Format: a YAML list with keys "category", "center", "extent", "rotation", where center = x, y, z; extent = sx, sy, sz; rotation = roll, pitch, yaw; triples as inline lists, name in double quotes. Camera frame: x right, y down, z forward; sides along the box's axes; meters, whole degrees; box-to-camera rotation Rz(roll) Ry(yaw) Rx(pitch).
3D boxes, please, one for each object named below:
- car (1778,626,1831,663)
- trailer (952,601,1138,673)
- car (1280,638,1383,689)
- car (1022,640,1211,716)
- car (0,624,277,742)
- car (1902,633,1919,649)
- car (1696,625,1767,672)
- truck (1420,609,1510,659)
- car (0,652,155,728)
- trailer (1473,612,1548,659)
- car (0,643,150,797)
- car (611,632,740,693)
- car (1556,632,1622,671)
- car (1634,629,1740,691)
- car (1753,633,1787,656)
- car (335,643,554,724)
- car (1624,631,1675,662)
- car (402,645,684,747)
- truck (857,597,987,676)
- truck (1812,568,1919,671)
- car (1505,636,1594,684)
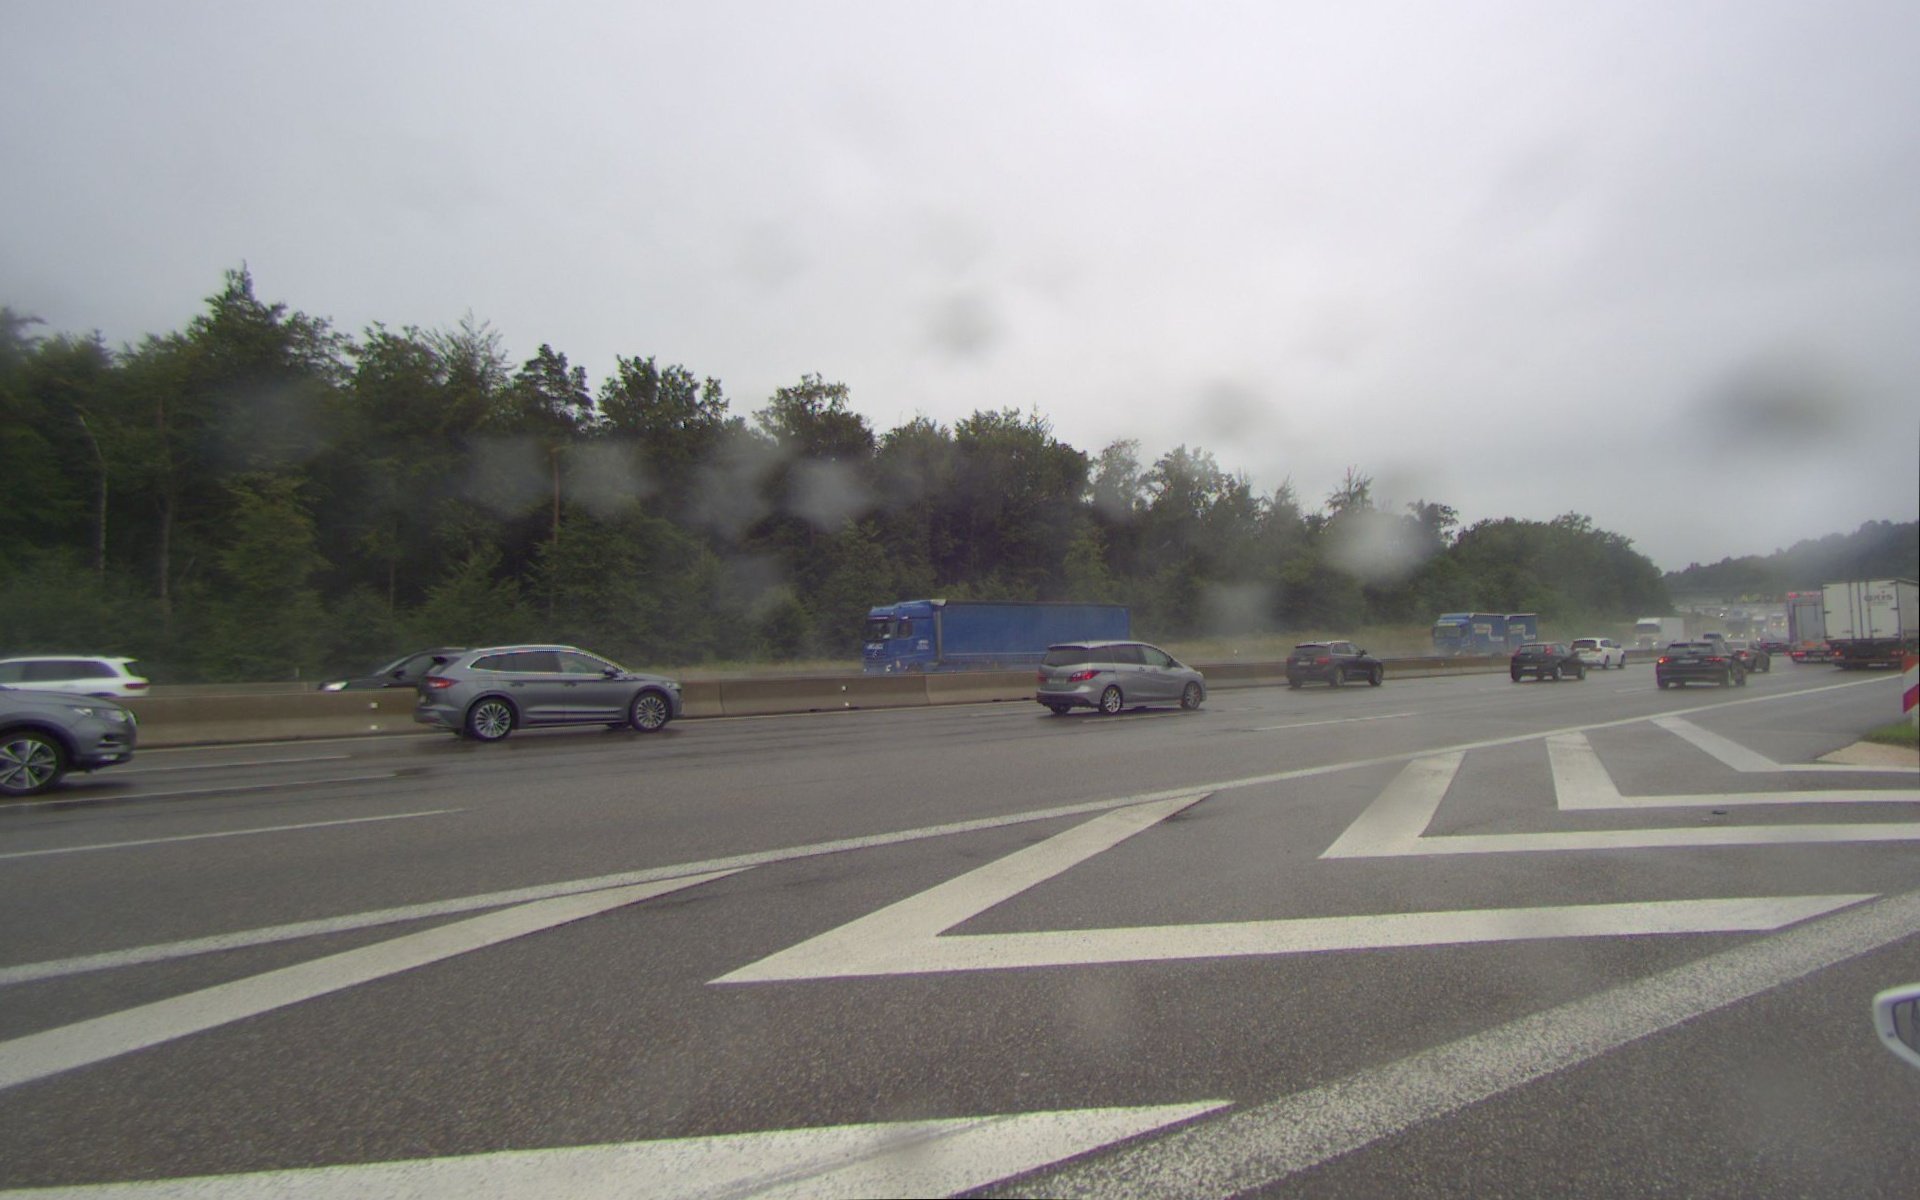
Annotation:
- category: "car"
  center: [49.339, 2.606, 58.675]
  extent: [3.974, 2.039, 1.974]
  rotation: [2, -5, -45]
- category: "trailer"
  center: [4.724, 1.935, 53.001]
  extent: [11.309, 3.462, 2.709]
  rotation: [2, -3, -41]
- category: "car"
  center: [13.564, 2.285, 36.577]
  extent: [4.068, 1.758, 1.761]
  rotation: [2, -4, -41]
- category: "car"
  center: [3.585, 1.706, 22.691]
  extent: [4.296, 1.546, 1.775]
  rotation: [1, -4, -38]
- category: "car"
  center: [-15.601, 1.512, 19.255]
  extent: [3.968, 2.040, 1.859]
  rotation: [2, -3, -40]
- category: "car"
  center: [110.755, 4.727, 116.384]
  extent: [3.971, 1.771, 1.975]
  rotation: [2, 0, -42]
- category: "car"
  center: [34.060, 2.126, 44.322]
  extent: [4.303, 1.997, 1.772]
  rotation: [2, -3, -43]
- category: "truck"
  center: [44.092, 3.040, 87.534]
  extent: [10.474, 4.032, 3.035]
  rotation: [3, 0, -40]
- category: "car"
  center: [-20.202, 1.924, 21.717]
  extent: [4.296, 1.546, 1.775]
  rotation: [2, -3, -38]
- category: "trailer"
  center: [51.555, 3.374, 93.922]
  extent: [9.094, 4.100, 3.064]
  rotation: [3, 0, -41]
- category: "car"
  center: [-11.232, 1.273, 10.472]
  extent: [4.298, 1.594, 1.705]
  rotation: [2, -4, -39]
- category: "car"
  center: [-9.997, 2.146, 35.382]
  extent: [3.964, 2.040, 1.979]
  rotation: [1, -3, -38]
- category: "car"
  center: [34.290, 2.801, 54.702]
  extent: [3.970, 2.040, 1.976]
  rotation: [2, -4, -42]
- category: "car"
  center: [22.096, 1.805, 30.480]
  extent: [3.817, 1.758, 1.761]
  rotation: [2, -4, -41]
- category: "car"
  center: [67.310, 3.702, 83.435]
  extent: [3.759, 1.810, 1.682]
  rotation: [2, -4, -44]
- category: "car"
  center: [-11.890, 1.873, 23.312]
  extent: [4.178, 1.705, 1.977]
  rotation: [3, -4, -40]
- category: "car"
  center: [47.209, 3.182, 68.727]
  extent: [3.970, 2.040, 1.976]
  rotation: [2, -4, -42]
- category: "car"
  center: [-7.411, 1.647, 18.101]
  extent: [4.420, 1.594, 1.705]
  rotation: [2, -4, -39]
- category: "truck"
  center: [-1.743, 1.723, 47.416]
  extent: [5.665, 3.460, 2.738]
  rotation: [2, -3, -41]
- category: "truck"
  center: [43.174, 1.072, 47.382]
  extent: [11.755, 4.348, 2.824]
  rotation: [2, -5, -42]
- category: "car"
  center: [23.078, 2.315, 39.275]
  extent: [4.067, 1.758, 1.761]
  rotation: [2, -4, -41]
